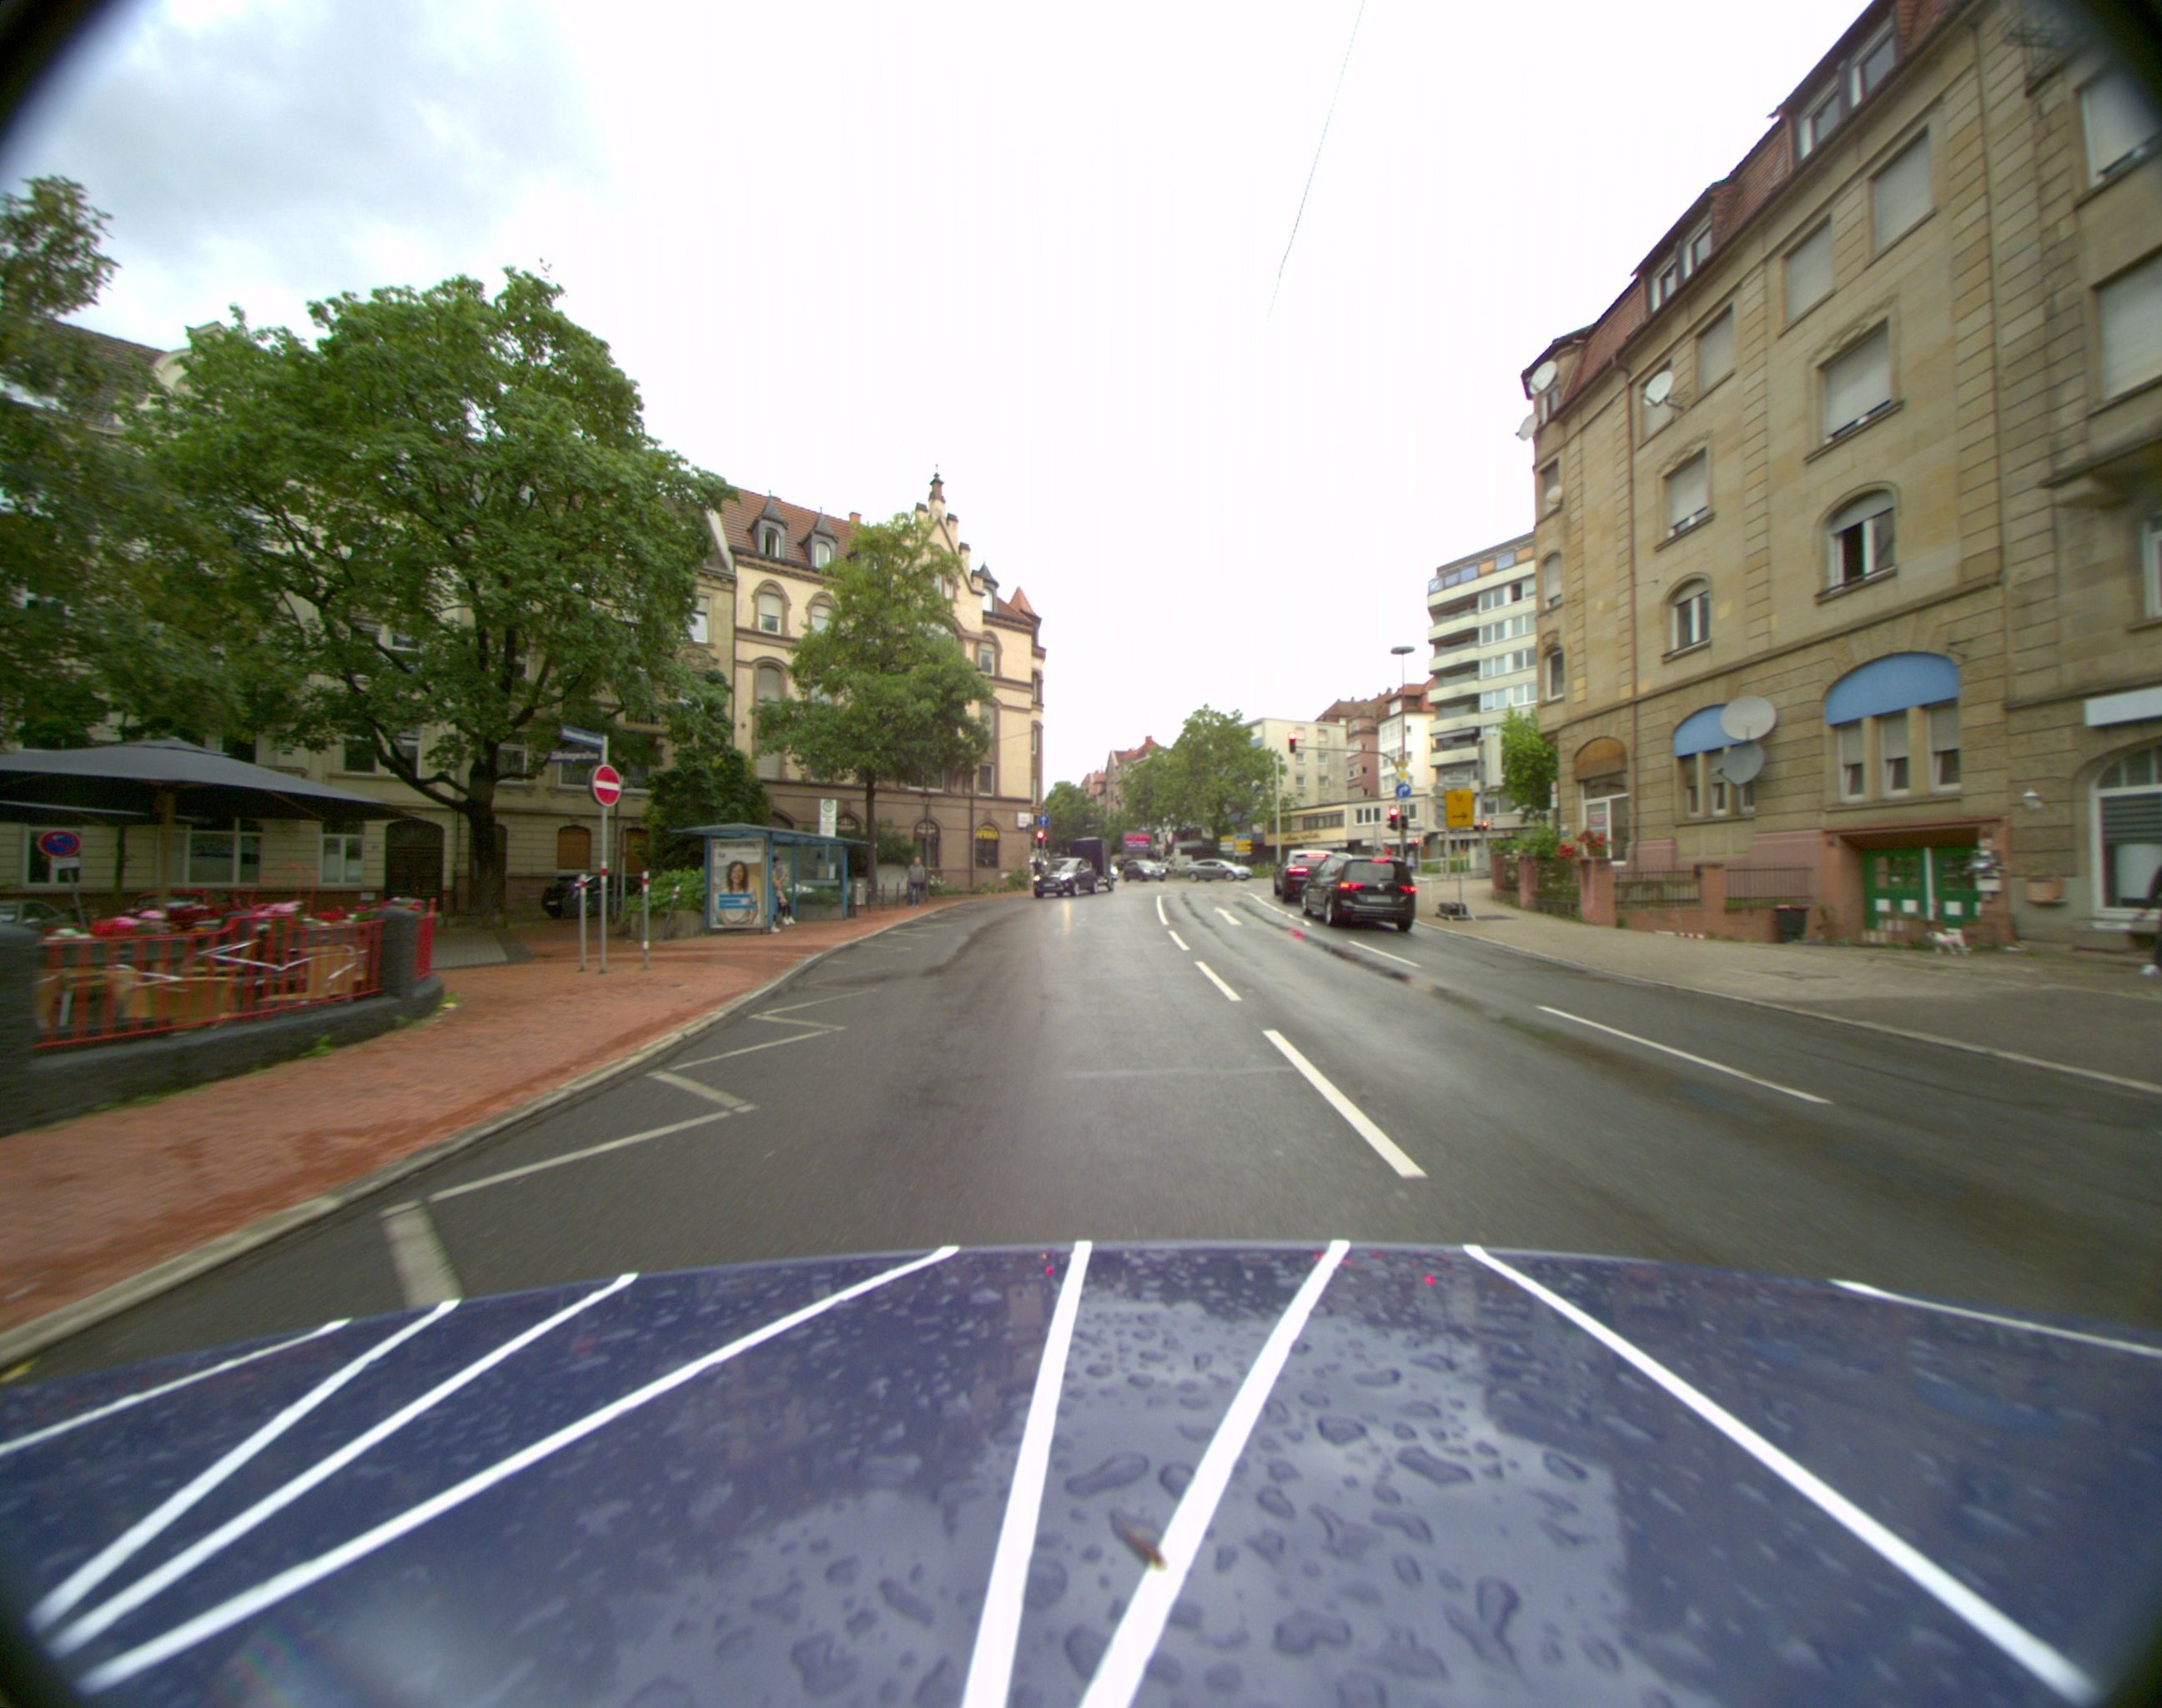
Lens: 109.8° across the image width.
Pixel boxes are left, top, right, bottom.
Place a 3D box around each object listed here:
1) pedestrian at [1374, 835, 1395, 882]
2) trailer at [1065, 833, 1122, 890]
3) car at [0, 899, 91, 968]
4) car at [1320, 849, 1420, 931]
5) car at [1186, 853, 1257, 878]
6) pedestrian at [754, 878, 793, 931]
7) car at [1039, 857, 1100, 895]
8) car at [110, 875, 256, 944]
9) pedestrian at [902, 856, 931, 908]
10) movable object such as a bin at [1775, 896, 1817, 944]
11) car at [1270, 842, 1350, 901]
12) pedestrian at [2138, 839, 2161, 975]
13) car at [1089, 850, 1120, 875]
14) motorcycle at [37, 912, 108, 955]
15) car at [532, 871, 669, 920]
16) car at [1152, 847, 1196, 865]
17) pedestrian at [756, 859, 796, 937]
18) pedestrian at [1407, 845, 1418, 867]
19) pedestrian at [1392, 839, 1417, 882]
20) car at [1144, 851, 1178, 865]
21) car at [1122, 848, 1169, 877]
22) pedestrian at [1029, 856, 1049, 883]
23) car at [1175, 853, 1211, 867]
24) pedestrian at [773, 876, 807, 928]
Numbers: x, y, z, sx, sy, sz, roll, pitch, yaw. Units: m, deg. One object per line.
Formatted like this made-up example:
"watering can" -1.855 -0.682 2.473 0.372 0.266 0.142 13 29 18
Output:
"pedestrian" 11.740 0.178 29.392 0.523 1.764 0.694 -3 1 7
"trailer" 0.696 0.340 38.177 1.936 2.621 4.688 -2 0 12
"car" -24.661 1.798 17.180 1.711 1.388 4.323 -3 0 -38
"car" 6.602 0.724 17.772 1.623 1.639 4.424 1 1 14
"car" 9.034 0.748 48.987 4.169 1.474 1.761 -2 0 41
"pedestrian" -7.686 1.260 18.999 0.570 1.273 0.619 -3 1 14
"car" -0.429 0.908 32.650 1.860 1.503 3.685 -1 0 11
"car" -25.512 1.489 21.768 1.880 1.520 3.988 -3 3 -38
"pedestrian" -5.643 0.960 26.099 0.572 1.723 0.733 -3 1 28
"movable object such as a bin" 15.080 1.387 16.026 0.476 0.945 0.417 -2 1 6
"car" 7.636 0.508 25.749 1.968 1.683 4.810 -1 2 9
"pedestrian" 14.364 0.689 9.883 0.479 1.767 0.564 -2 2 -15
"car" 1.988 0.694 65.164 1.916 2.002 4.452 -3 1 -7
"motorcycle" -27.525 2.153 20.768 0.449 0.918 1.625 -3 5 -28
"car" -17.461 1.475 27.832 1.768 1.467 3.856 -3 0 23
"car" 11.248 0.208 91.817 4.983 1.966 1.876 -3 2 -27
"pedestrian" -7.095 1.006 17.686 0.559 1.765 0.546 -3 1 29
"pedestrian" 25.173 0.125 57.697 0.618 1.683 0.626 0 1 36
"pedestrian" 13.026 0.257 30.628 0.638 1.692 0.829 -3 0 3
"car" 10.222 0.497 96.923 3.841 1.680 1.802 -2 2 -26
"car" 4.760 0.615 56.479 1.917 2.002 4.503 -3 1 -16
"pedestrian" -2.596 0.945 47.164 0.895 1.669 0.828 -1 0 -36
"car" 12.858 0.661 87.159 3.711 1.408 1.808 -3 2 -33
"pedestrian" -7.518 1.236 19.652 0.570 1.273 0.535 -3 1 12
